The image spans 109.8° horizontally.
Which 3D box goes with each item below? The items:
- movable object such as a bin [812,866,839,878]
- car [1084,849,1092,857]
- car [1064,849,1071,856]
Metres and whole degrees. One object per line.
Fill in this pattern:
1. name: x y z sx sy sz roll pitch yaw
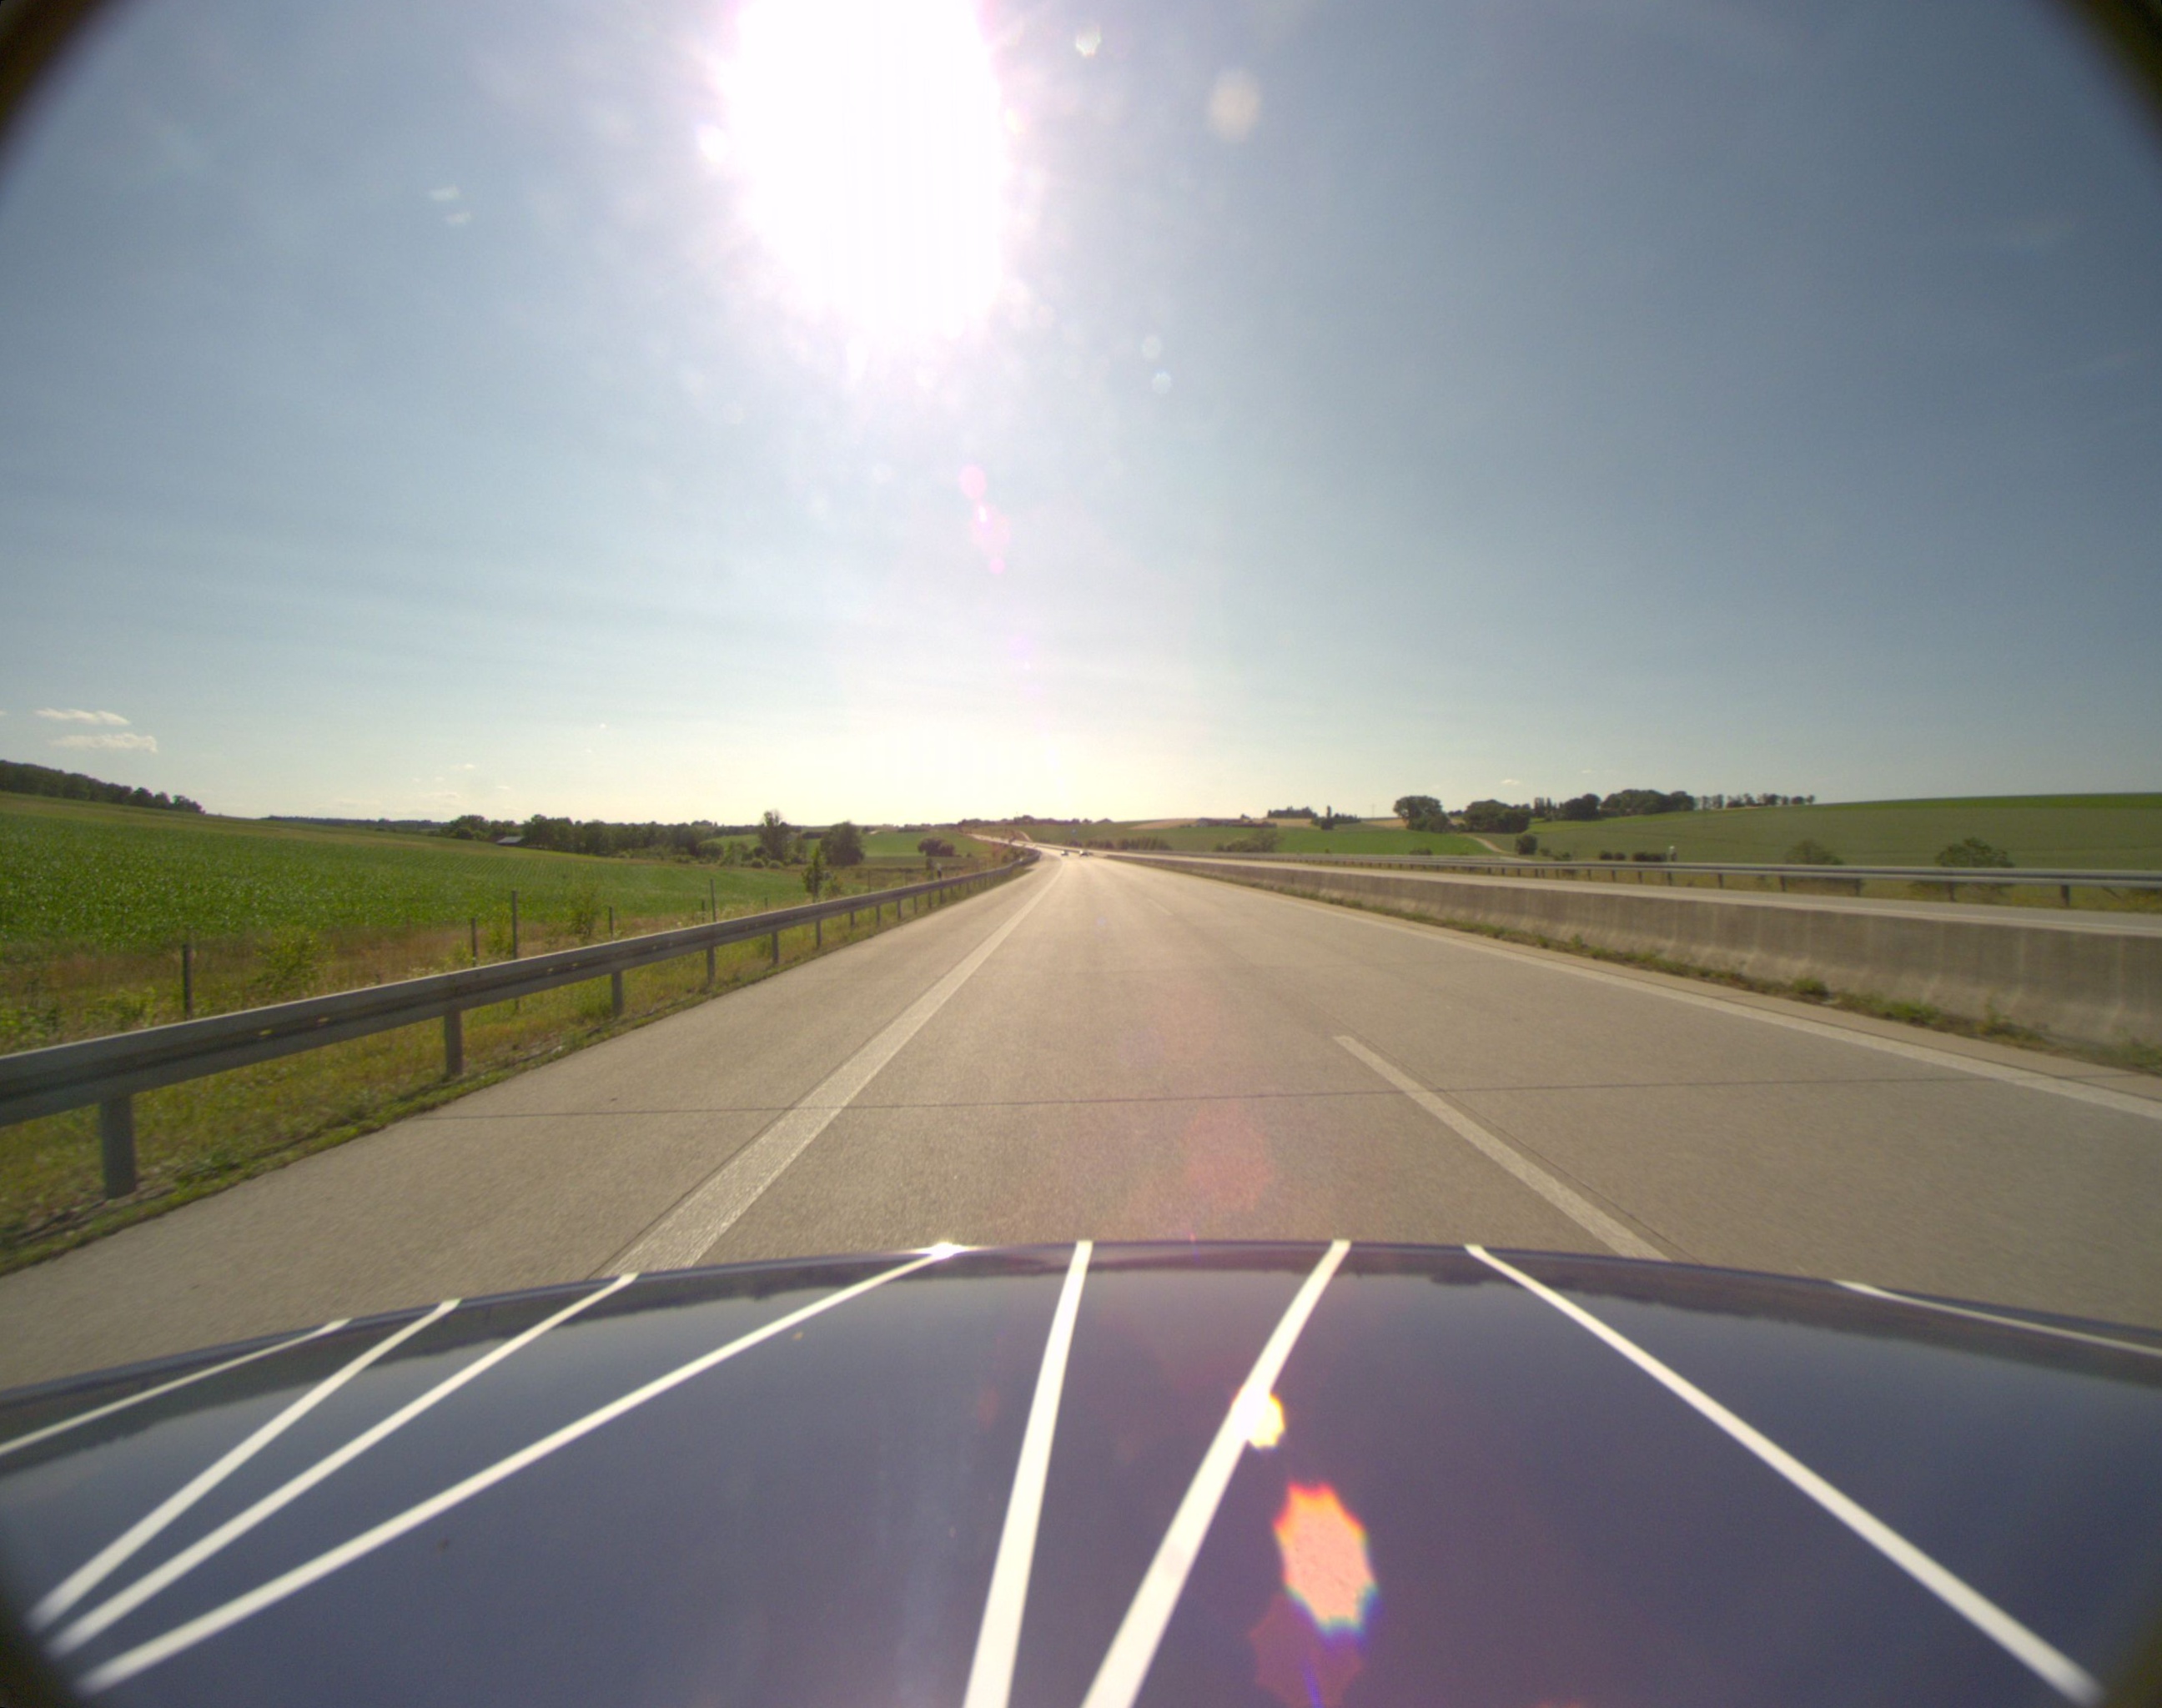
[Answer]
1. movable object such as a bin: -64.475 4.522 191.571 6.214 2.756 3.292 0 3 37
2. car: 1.702 -0.323 173.081 1.715 1.581 4.625 -2 3 1
3. car: -3.535 -0.344 201.213 1.715 1.581 4.625 -2 3 0
